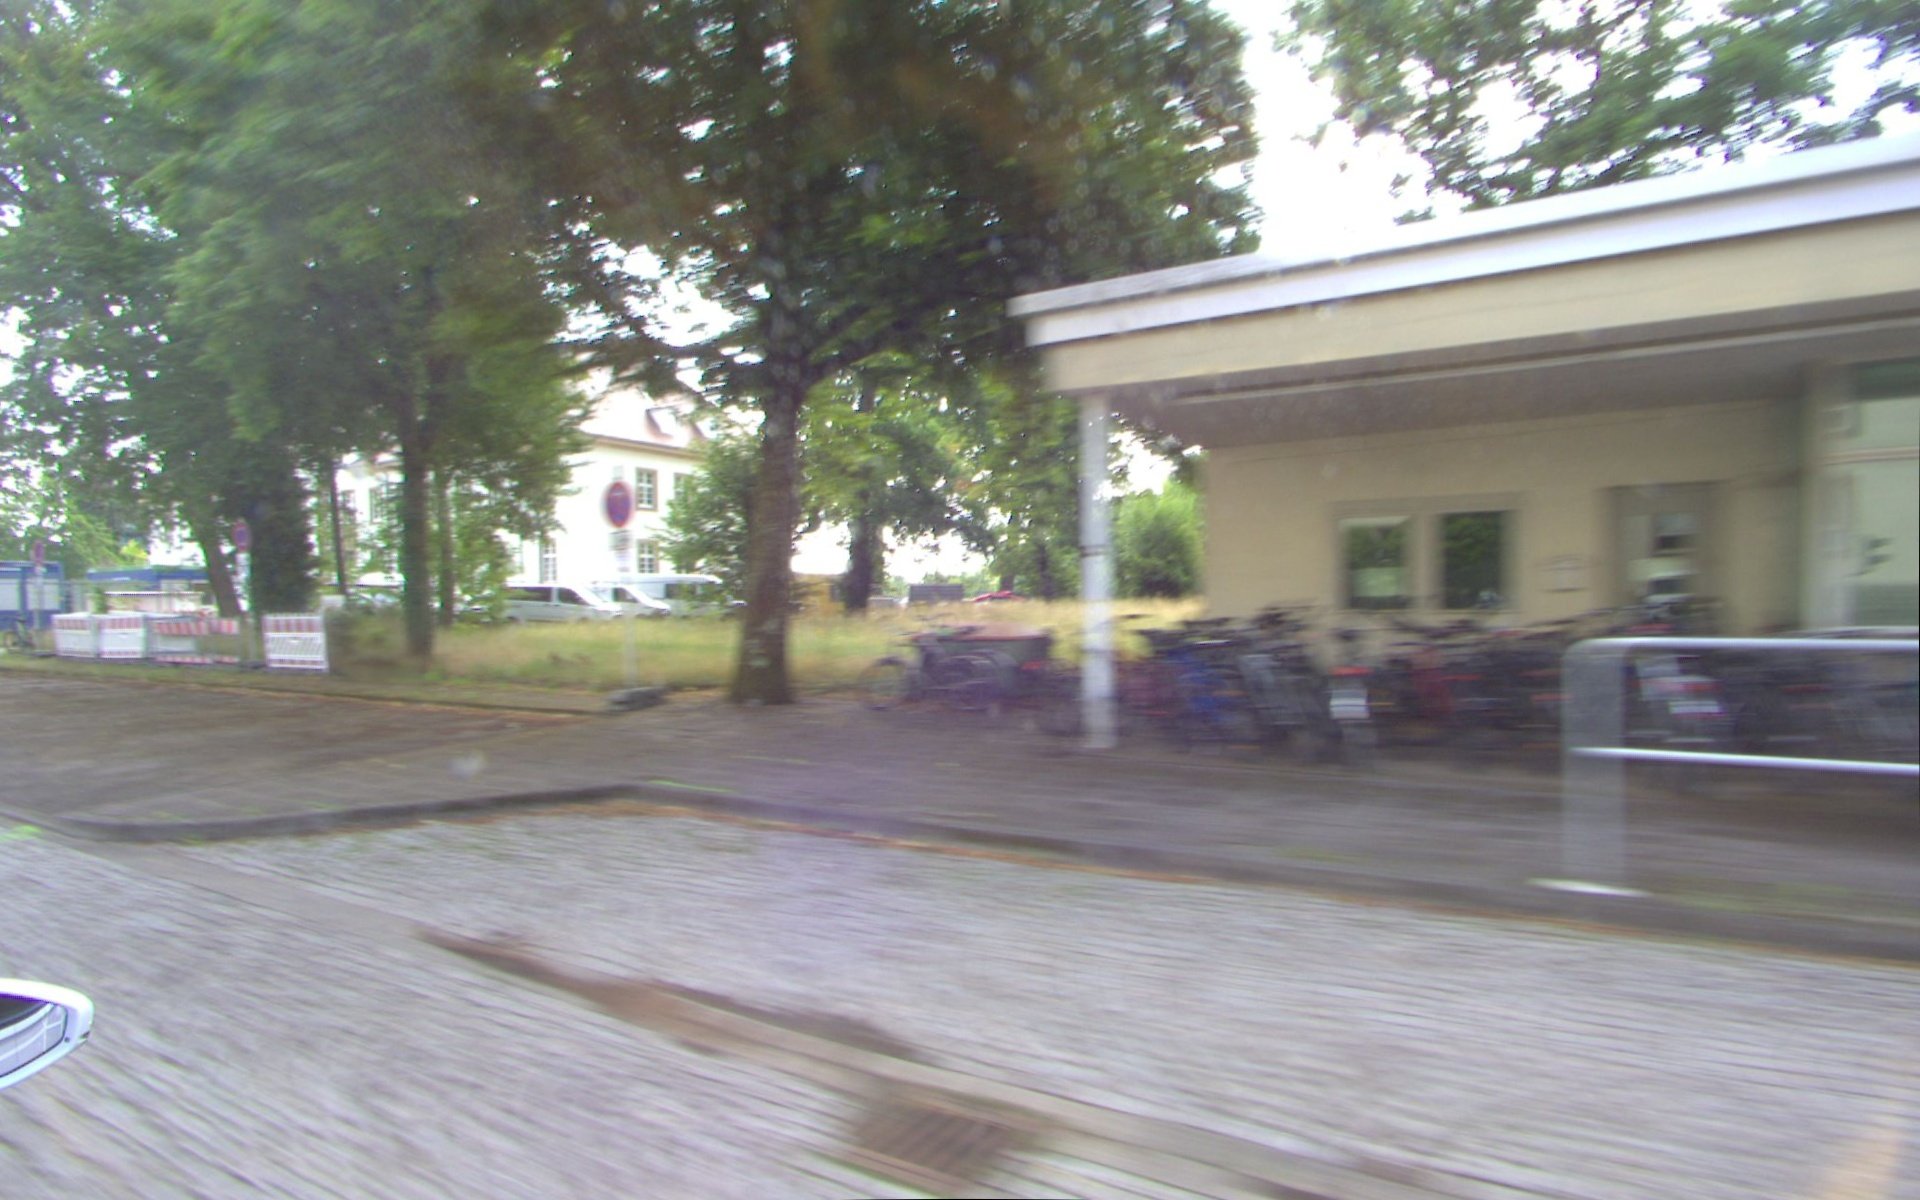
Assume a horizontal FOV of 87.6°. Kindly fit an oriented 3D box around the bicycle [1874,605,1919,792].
[{"bbox_3d":[6.108,0.637,6.053,0.320,1.157,1.591,0,2,23],"label":"bicycle"}]

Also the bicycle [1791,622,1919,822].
[{"bbox_3d":[5.881,0.719,6.464,0.320,1.064,1.591,0,2,23],"label":"bicycle"}]

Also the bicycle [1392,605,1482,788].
[{"bbox_3d":[3.660,0.674,7.765,0.412,1.206,1.631,0,2,18],"label":"bicycle"}]

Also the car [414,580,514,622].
[{"bbox_3d":[-22.987,0.087,46.348,4.805,1.849,1.990,-1,-1,32],"label":"car"}]

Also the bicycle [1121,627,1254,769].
[{"bbox_3d":[1.899,0.783,8.604,0.744,0.989,1.745,-1,2,0],"label":"bicycle"}]

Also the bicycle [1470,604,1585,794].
[{"bbox_3d":[4.204,0.669,7.501,0.412,1.206,1.631,0,2,18],"label":"bicycle"}]

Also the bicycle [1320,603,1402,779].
[{"bbox_3d":[3.168,0.658,8.002,0.465,1.206,1.631,0,2,17],"label":"bicycle"}]

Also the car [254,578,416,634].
[{"bbox_3d":[-23.263,0.183,37.471,1.878,1.947,4.849,1,1,31],"label":"car"}]

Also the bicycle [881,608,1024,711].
[{"bbox_3d":[-0.102,0.672,11.925,1.610,1.132,0.596,0,3,29],"label":"bicycle"}]

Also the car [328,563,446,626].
[{"bbox_3d":[-24.871,-0.180,43.359,5.826,2.589,1.989,-1,-1,33],"label":"car"}]

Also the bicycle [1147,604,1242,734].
[{"bbox_3d":[2.495,0.664,10.503,0.598,1.181,1.739,0,2,26],"label":"bicycle"}]

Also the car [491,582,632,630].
[{"bbox_3d":[-15.603,0.254,39.362,4.779,1.849,2.000,0,-1,4],"label":"car"}]

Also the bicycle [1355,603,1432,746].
[{"bbox_3d":[4.170,0.648,9.565,0.598,1.181,1.739,0,2,26],"label":"bicycle"}]

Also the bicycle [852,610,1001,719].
[{"bbox_3d":[-0.390,0.698,11.368,1.610,1.132,0.596,0,3,29],"label":"bicycle"}]

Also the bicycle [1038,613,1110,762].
[{"bbox_3d":[1.035,0.713,8.849,0.332,1.123,1.678,0,2,17],"label":"bicycle"}]

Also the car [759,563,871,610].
[{"bbox_3d":[-7.194,-0.605,50.439,2.180,2.123,6.132,0,-1,31],"label":"car"}]

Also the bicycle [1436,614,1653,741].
[{"bbox_3d":[5.333,0.686,9.231,1.652,1.091,0.479,0,3,19],"label":"bicycle"}]

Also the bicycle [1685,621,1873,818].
[{"bbox_3d":[5.377,0.717,6.675,0.328,1.064,1.632,0,2,16],"label":"bicycle"}]

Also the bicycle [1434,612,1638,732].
[{"bbox_3d":[5.559,0.674,9.758,1.652,1.091,0.479,0,3,19],"label":"bicycle"}]

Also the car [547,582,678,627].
[{"bbox_3d":[-14.474,0.213,41.841,4.779,1.849,2.000,0,-1,4],"label":"car"}]

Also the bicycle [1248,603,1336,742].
[{"bbox_3d":[3.300,0.653,9.870,0.598,1.181,1.739,0,2,26],"label":"bicycle"}]

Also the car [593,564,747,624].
[{"bbox_3d":[-12.847,-0.227,44.626,6.297,2.611,2.000,0,0,1],"label":"car"}]

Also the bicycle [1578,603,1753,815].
[{"bbox_3d":[4.713,0.656,6.798,0.490,1.206,1.631,0,2,18],"label":"bicycle"}]

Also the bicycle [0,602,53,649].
[{"bbox_3d":[-24.509,0.656,26.207,1.877,1.185,0.641,0,2,33],"label":"bicycle"}]

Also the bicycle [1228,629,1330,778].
[{"bbox_3d":[2.553,0.784,8.148,0.316,0.990,1.634,-1,2,0],"label":"bicycle"}]
